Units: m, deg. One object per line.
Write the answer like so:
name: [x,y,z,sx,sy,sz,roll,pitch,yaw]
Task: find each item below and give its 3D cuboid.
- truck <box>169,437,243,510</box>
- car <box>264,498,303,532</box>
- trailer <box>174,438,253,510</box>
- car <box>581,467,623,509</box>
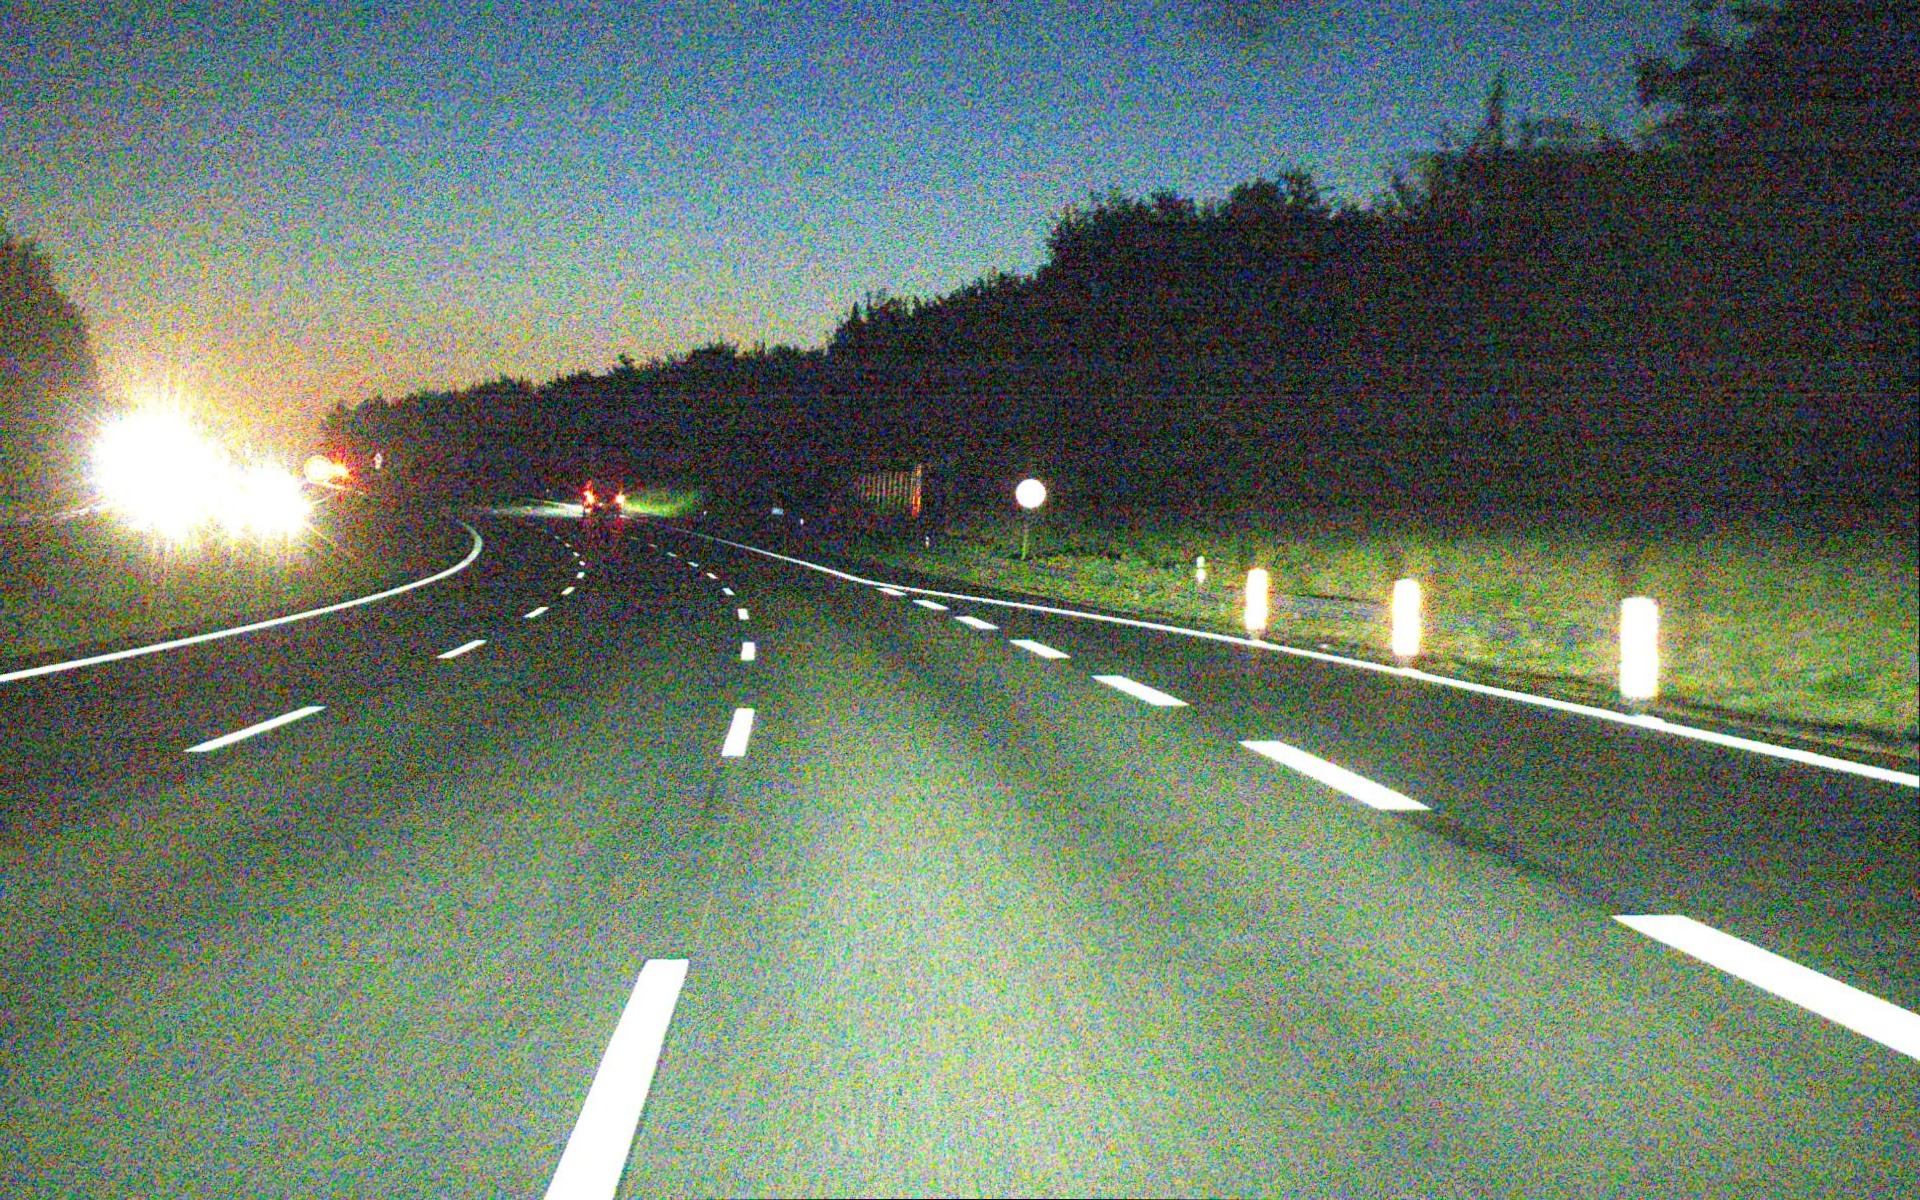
truck: [-42.811,-7.182,195.420,3.589,4.085,5.996,0,2,-7]
car: [-36.129,-4.547,183.573,1.993,1.720,4.078,0,3,-12]
trailer: [-43.690,-7.353,201.538,3.598,4.076,14.129,0,2,-8]
car: [-22.806,-7.151,219.235,2.527,2.544,6.053,3,2,-6]
